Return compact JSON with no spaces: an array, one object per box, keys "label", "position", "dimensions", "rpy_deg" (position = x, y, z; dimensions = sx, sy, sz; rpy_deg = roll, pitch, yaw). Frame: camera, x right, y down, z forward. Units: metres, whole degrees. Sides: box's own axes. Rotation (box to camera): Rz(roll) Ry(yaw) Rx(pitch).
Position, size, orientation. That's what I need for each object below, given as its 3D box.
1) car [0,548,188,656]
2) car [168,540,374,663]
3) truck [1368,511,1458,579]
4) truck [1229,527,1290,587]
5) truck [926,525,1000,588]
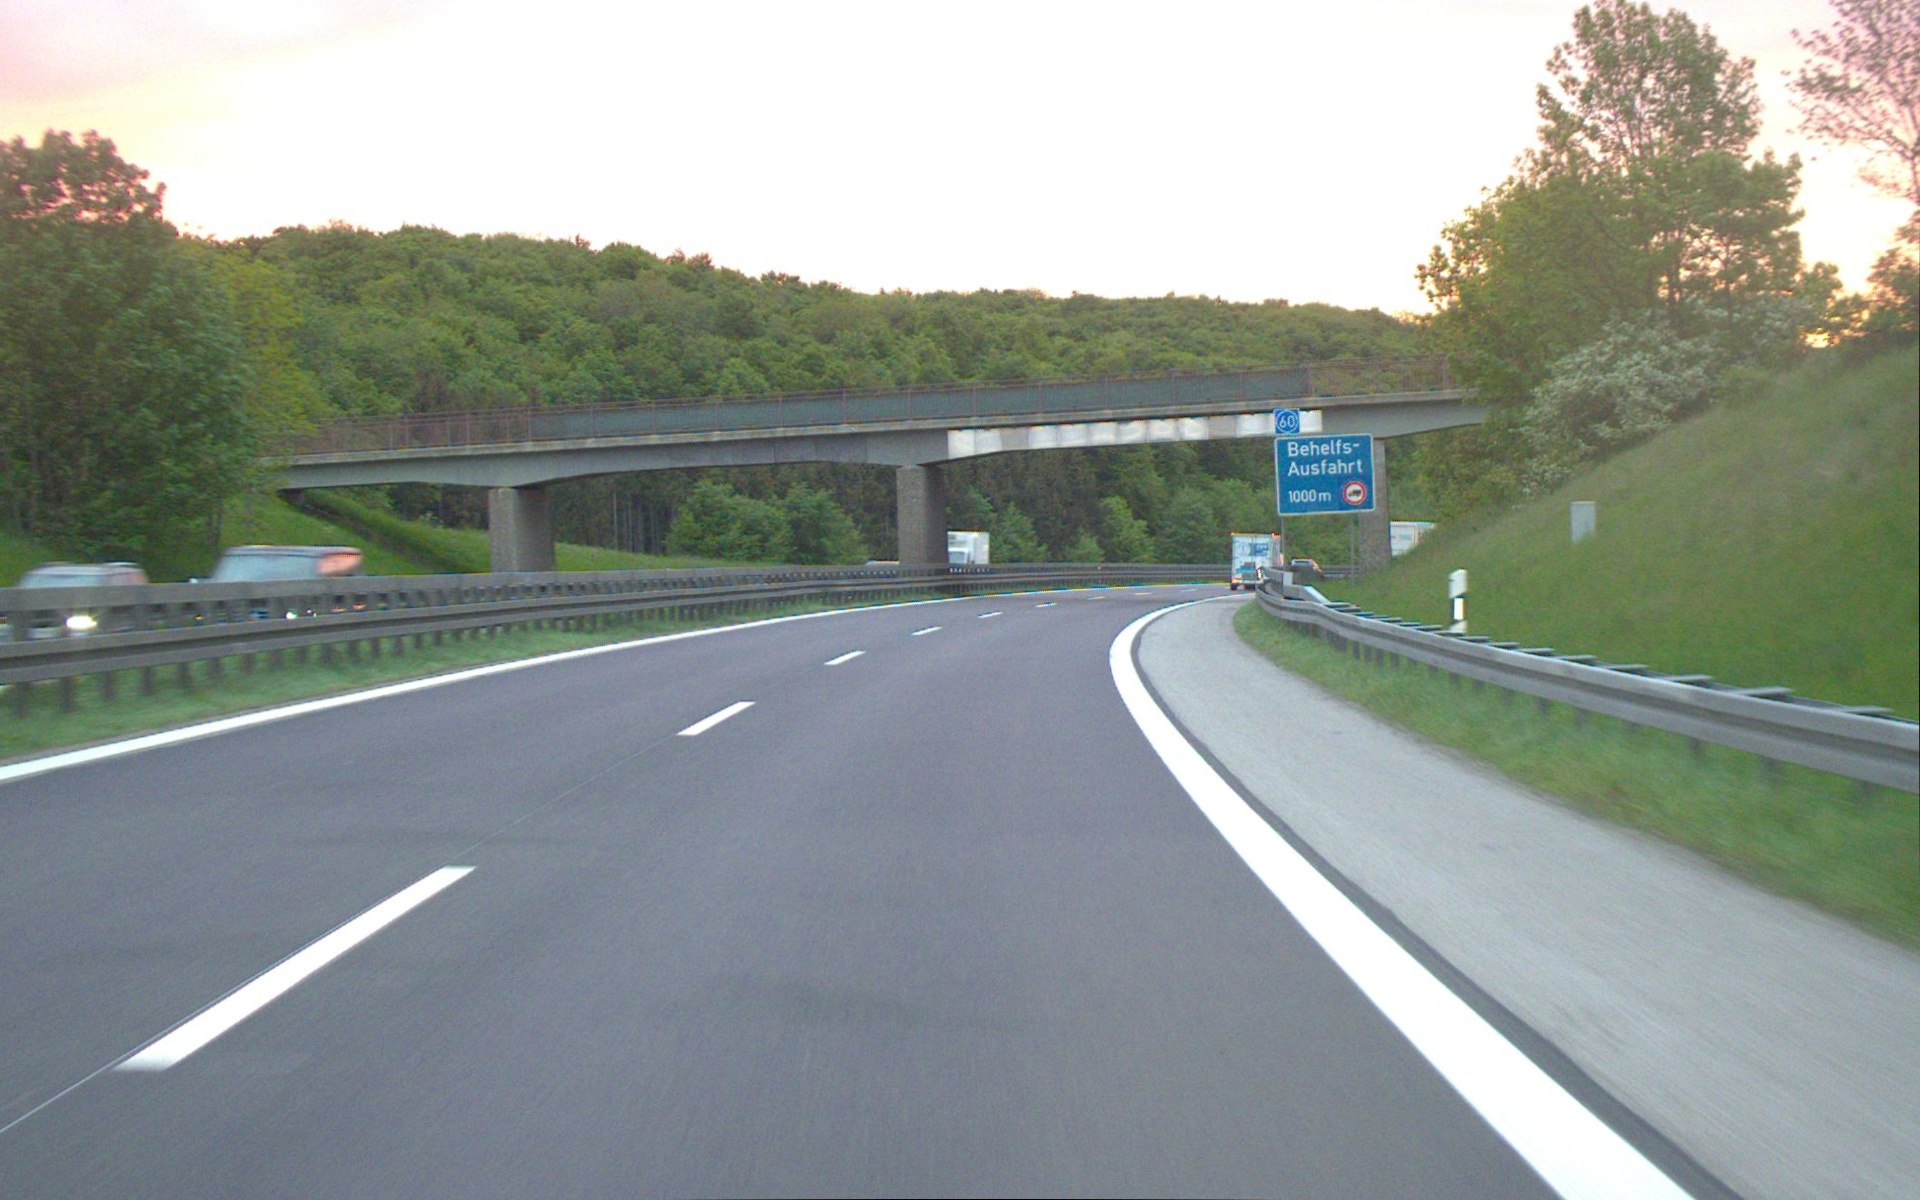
[{"label":"car","position":[-14.008,-0.001,55.220],"dimensions":[2.025,1.654,4.671],"rpy_deg":[0,1,2]},{"label":"car","position":[-11.023,-0.017,55.384],"dimensions":[2.102,1.865,5.131],"rpy_deg":[0,1,2]},{"label":"truck","position":[29.784,-3.598,225.440],"dimensions":[3.961,4.272,14.313],"rpy_deg":[0,1,15]},{"label":"truck","position":[14.020,-2.031,160.667],"dimensions":[2.277,2.656,5.234],"rpy_deg":[-1,2,10]},{"label":"truck","position":[0.164,-2.226,174.377],"dimensions":[2.613,3.099,6.666],"rpy_deg":[1,1,10]}]
